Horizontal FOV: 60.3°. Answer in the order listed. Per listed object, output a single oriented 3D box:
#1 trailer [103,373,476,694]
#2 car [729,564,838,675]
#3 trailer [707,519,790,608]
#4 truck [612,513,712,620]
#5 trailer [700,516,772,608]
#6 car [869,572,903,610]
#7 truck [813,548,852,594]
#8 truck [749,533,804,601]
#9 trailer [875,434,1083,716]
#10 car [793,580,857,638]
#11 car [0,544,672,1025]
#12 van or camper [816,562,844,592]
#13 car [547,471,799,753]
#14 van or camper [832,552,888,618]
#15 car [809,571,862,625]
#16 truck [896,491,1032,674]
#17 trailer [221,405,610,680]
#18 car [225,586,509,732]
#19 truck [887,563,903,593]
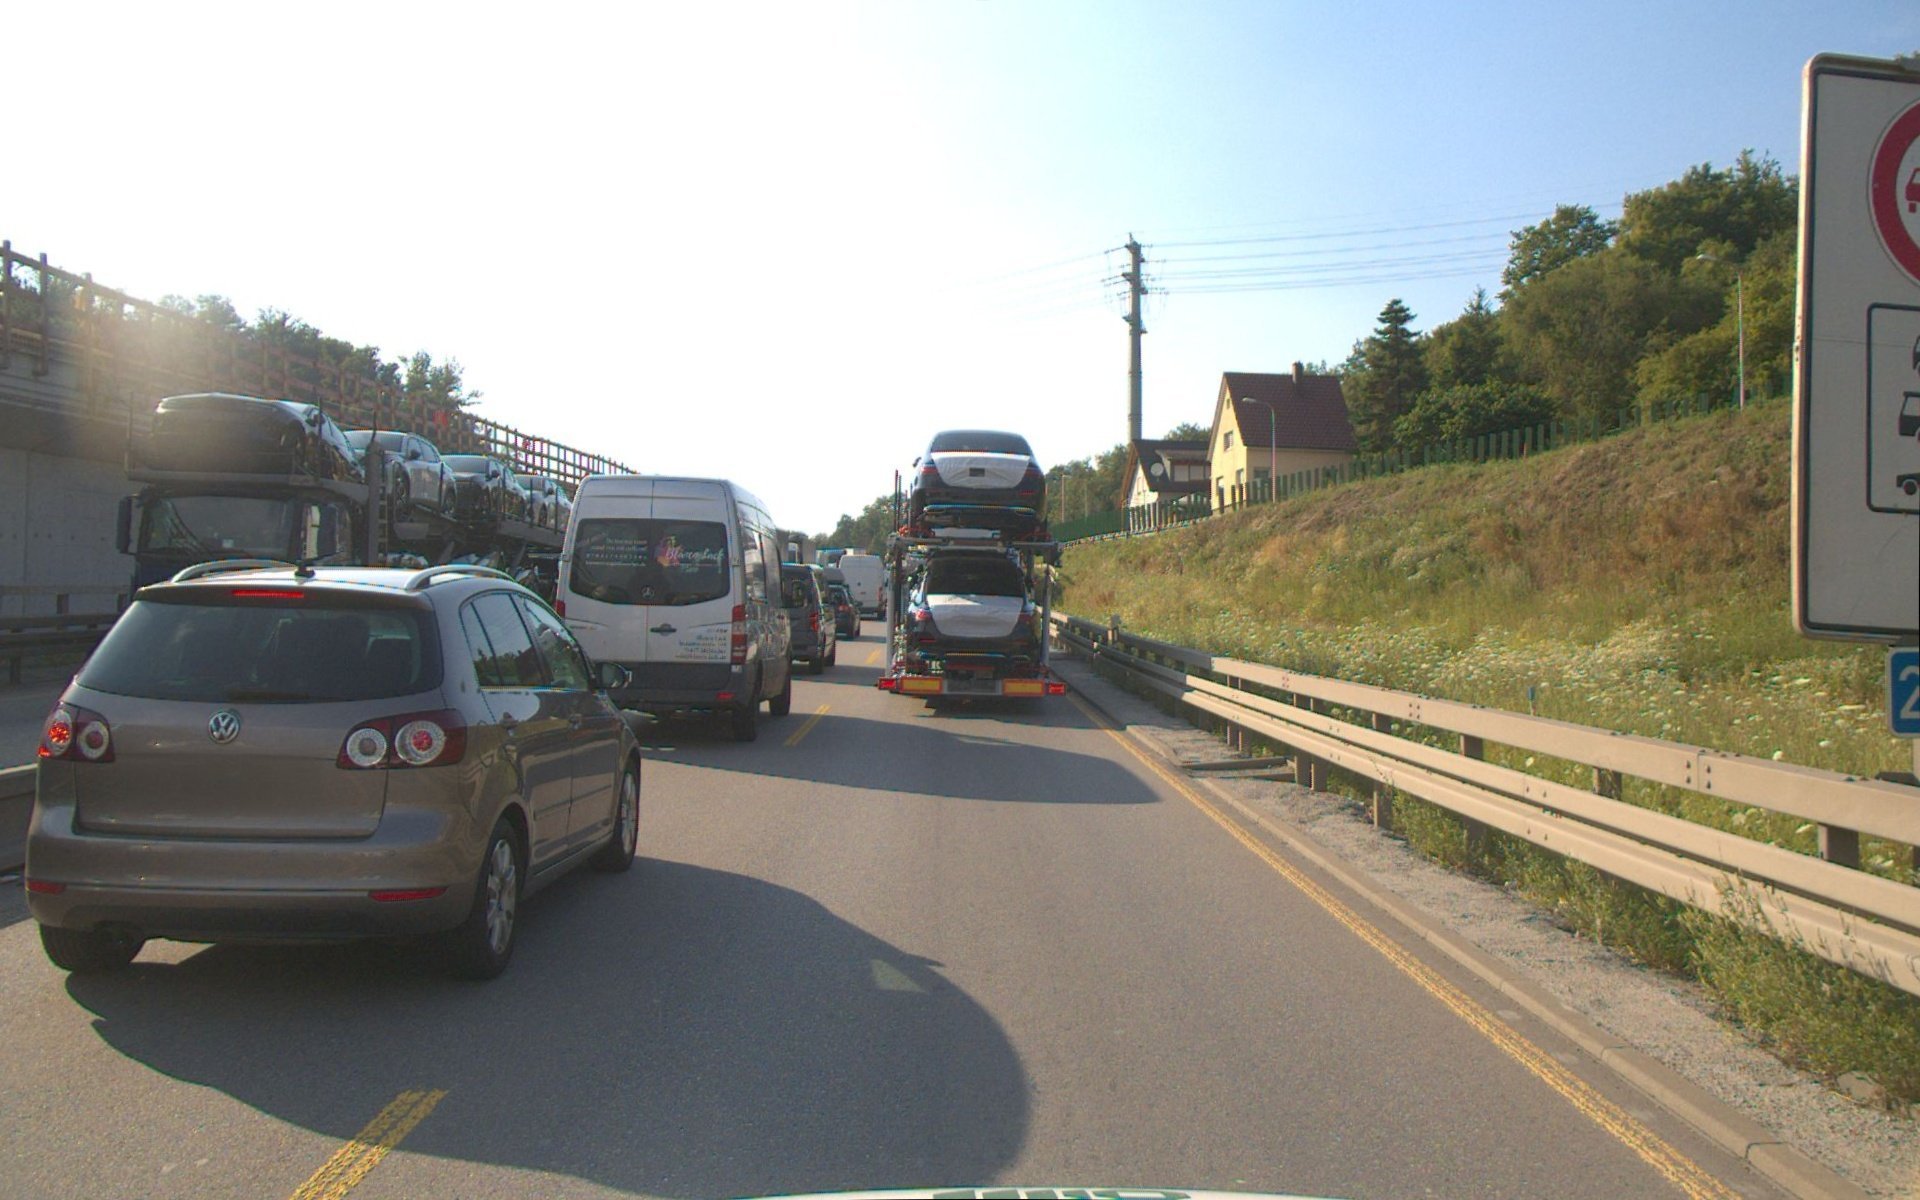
[{"bbox_3d":[-9.762,-0.863,25.096,2.715,4.101,7.206,1,0,-1],"label":"trailer"},{"bbox_3d":[-3.295,0.355,31.545,1.772,1.937,3.998,1,0,-3],"label":"car"},{"bbox_3d":[-10.883,-1.936,86.486,2.708,4.213,14.023,1,1,-1],"label":"trailer"},{"bbox_3d":[-10.304,-1.119,57.592,2.497,3.469,5.530,1,0,-1],"label":"truck"},{"bbox_3d":[-10.729,-1.817,79.756,2.709,4.213,5.975,1,1,-1],"label":"trailer"},{"bbox_3d":[-4.257,-0.537,96.027,1.848,2.136,3.764,1,1,-2],"label":"car"},{"bbox_3d":[-10.278,-2.272,133.601,2.660,3.484,8.138,-2,0,-2],"label":"truck"},{"bbox_3d":[-11.370,-1.994,102.966,2.802,4.078,5.656,1,0,-2],"label":"truck"},{"bbox_3d":[0.147,-0.354,29.085,2.628,3.596,15.286,1,0,-1],"label":"trailer"},{"bbox_3d":[-3.904,0.227,48.324,1.691,1.549,3.972,1,1,-2],"label":"car"},{"bbox_3d":[-2.507,0.639,7.725,1.646,1.616,4.270,0,0,-1],"label":"car"},{"bbox_3d":[-12.391,-2.222,158.185,2.265,2.709,6.453,-1,1,-1],"label":"van or camper"},{"bbox_3d":[-3.014,0.069,18.573,1.953,2.694,5.530,0,1,-1],"label":"car"},{"bbox_3d":[-4.166,-0.611,69.547,1.928,2.637,5.042,1,0,0],"label":"van or camper"},{"bbox_3d":[-6.122,-0.094,81.916,2.422,2.578,3.999,1,0,-2],"label":"car"},{"bbox_3d":[0.031,-0.362,36.545,2.628,3.596,7.192,1,0,-1],"label":"truck"},{"bbox_3d":[-9.922,-0.873,32.976,2.715,4.101,15.760,1,0,-1],"label":"trailer"},{"bbox_3d":[-6.781,0.611,19.456,1.674,1.470,4.599,1,0,0],"label":"car"},{"bbox_3d":[-9.943,-3.355,251.714,2.154,4.504,8.225,0,0,-4],"label":"truck"}]
